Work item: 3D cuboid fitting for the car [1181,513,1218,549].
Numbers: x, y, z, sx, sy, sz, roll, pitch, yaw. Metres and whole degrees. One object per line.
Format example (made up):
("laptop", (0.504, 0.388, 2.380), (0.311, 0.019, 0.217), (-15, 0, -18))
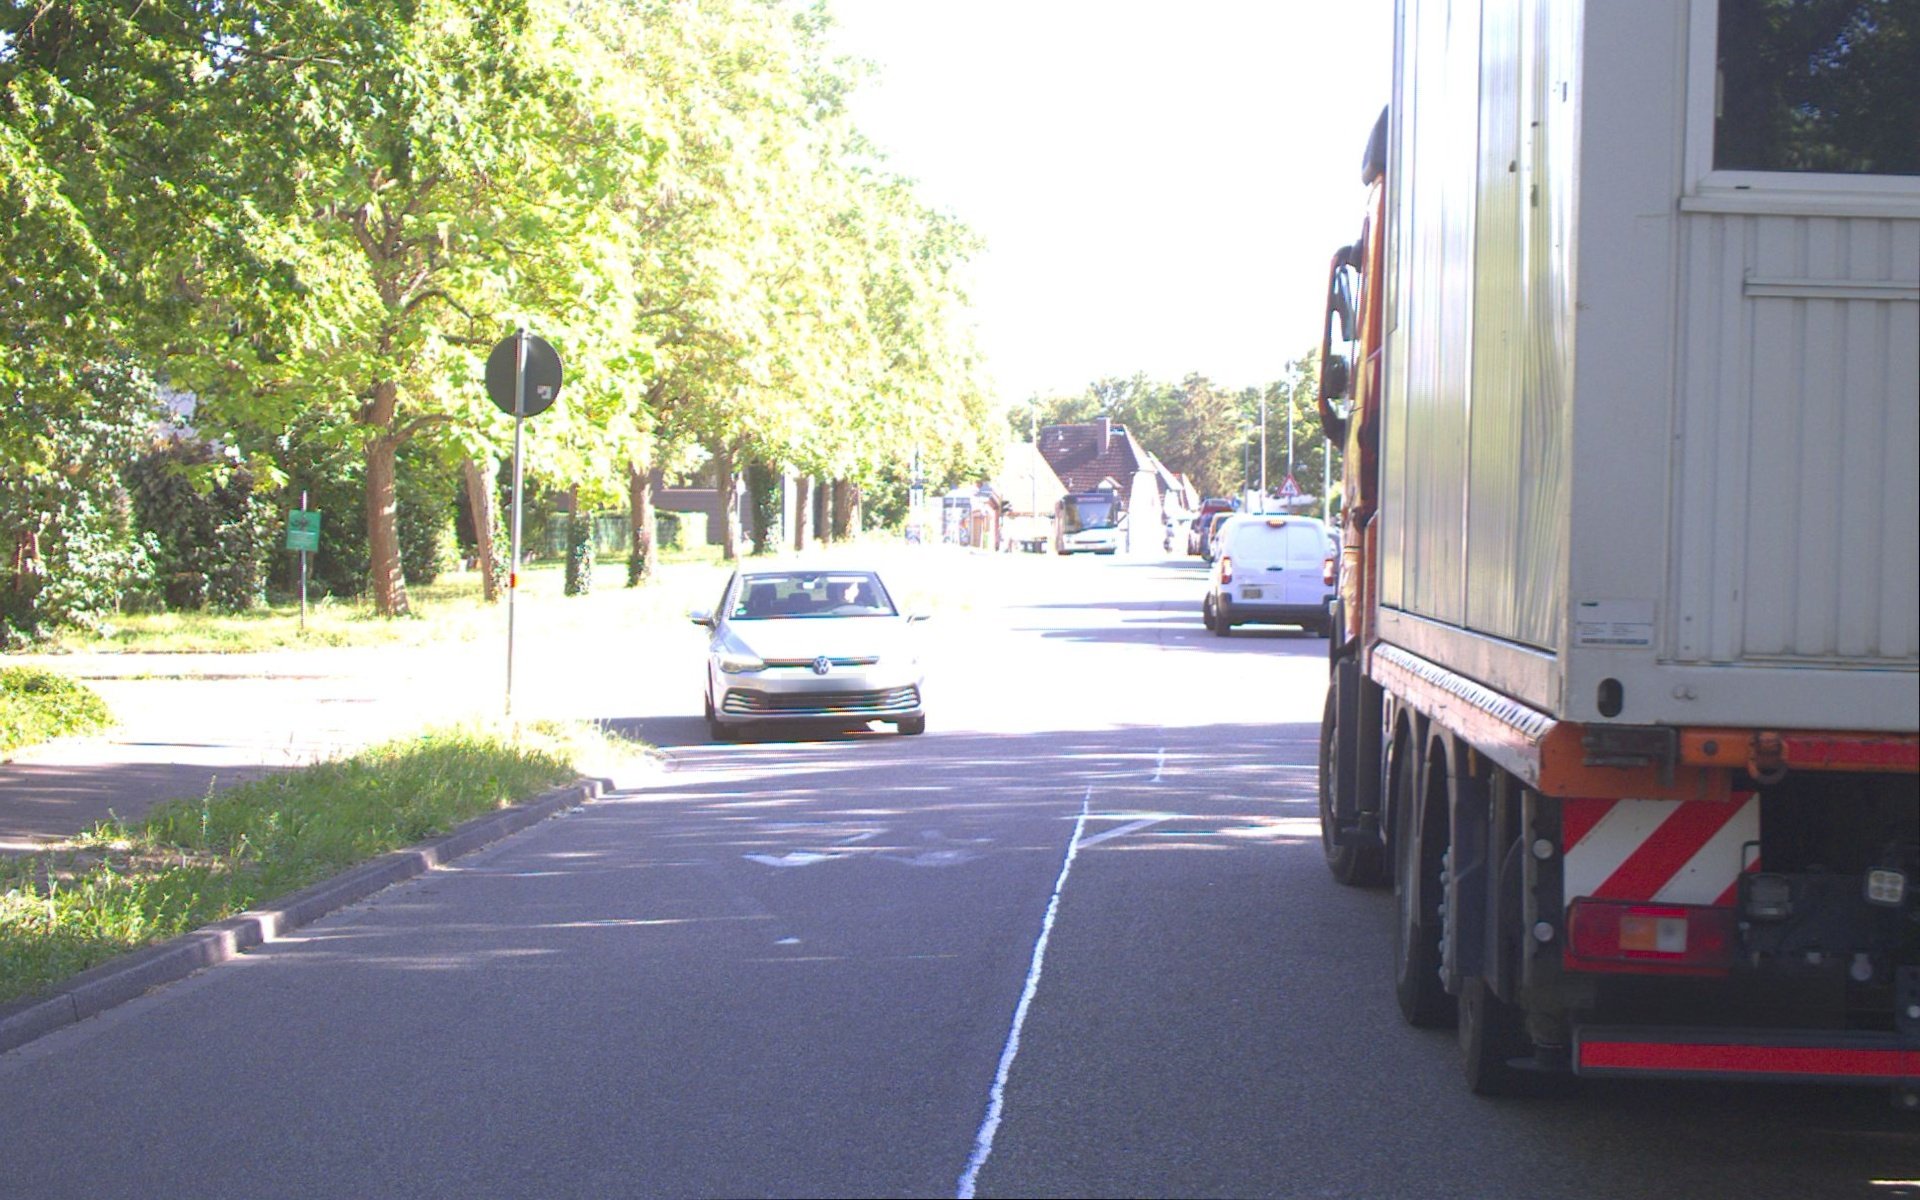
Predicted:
("car", (12.198, -3.529, 175.518), (1.781, 1.802, 4.000), (0, 1, 3))

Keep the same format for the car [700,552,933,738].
("car", (-1.290, 0.327, 29.347), (1.805, 1.415, 3.960), (-1, 1, -4))

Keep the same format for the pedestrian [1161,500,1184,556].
("pedestrian", (8.081, -2.724, 130.853), (0.752, 2.106, 0.799), (2, 1, 6))

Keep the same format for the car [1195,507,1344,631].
("car", (4.743, -0.499, 53.110), (1.946, 1.836, 4.000), (0, 1, 0))

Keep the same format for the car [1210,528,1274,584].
("car", (8.605, -1.360, 105.172), (1.781, 1.647, 4.000), (0, 1, 3))

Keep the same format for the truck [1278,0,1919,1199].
("truck", (2.763, -0.684, 11.888), (2.773, 3.982, 10.348), (2, 1, 3))

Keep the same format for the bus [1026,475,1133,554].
("bus", (5.362, -3.780, 152.641), (4.066, 3.337, 9.799), (-1, 1, 6))
